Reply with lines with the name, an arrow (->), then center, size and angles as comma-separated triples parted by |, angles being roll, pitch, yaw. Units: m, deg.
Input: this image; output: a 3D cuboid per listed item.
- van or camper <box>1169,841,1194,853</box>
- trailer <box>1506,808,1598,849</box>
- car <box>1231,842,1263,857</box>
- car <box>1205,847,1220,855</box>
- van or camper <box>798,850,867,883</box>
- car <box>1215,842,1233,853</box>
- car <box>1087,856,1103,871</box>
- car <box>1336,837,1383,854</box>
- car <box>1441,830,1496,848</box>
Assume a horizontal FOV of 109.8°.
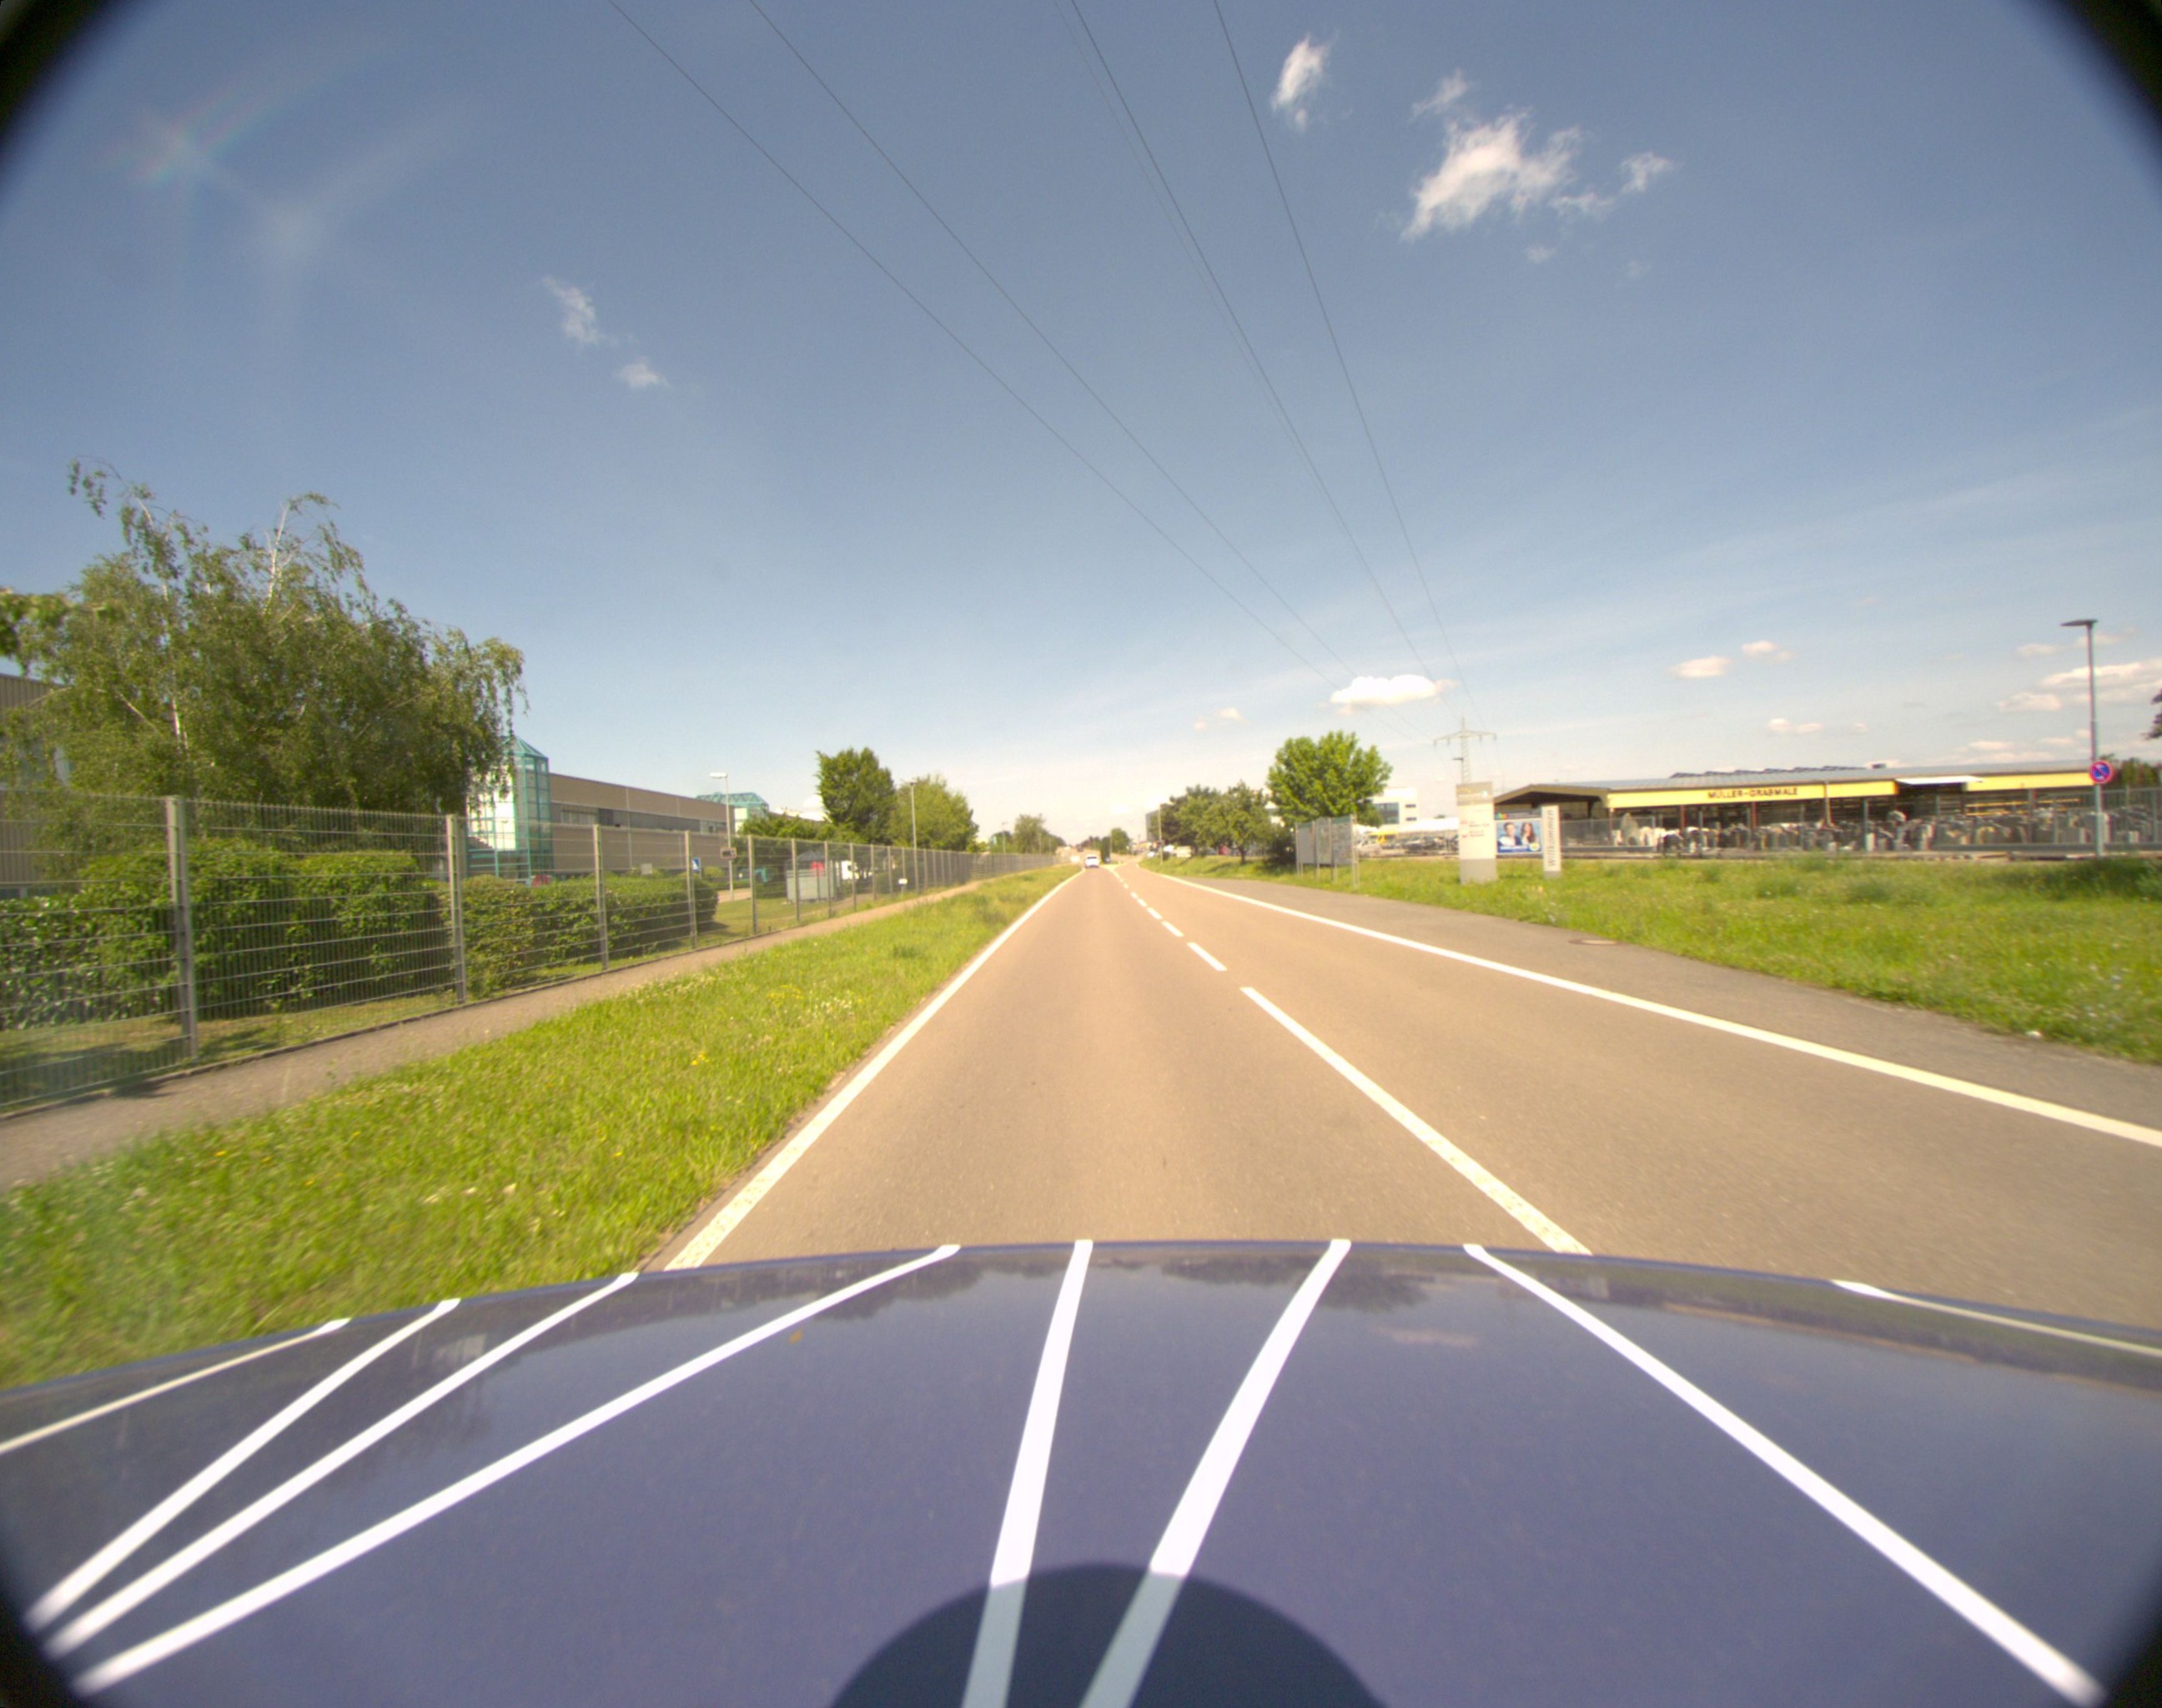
van or camper -> 24.618, -1.697, 185.628 | 5.575, 2.483, 2.081 | -3, 1, 24
trailer -> 37.243, -1.998, 60.155 | 5.578, 2.809, 2.739 | -3, 1, -6
car -> 22.494, -0.617, 102.867 | 4.115, 1.695, 1.719 | -4, 1, -32
car -> 25.138, -0.648, 145.178 | 1.999, 1.400, 4.516 | -4, 0, 0
van or camper -> -23.867, 1.191, 73.212 | 5.788, 2.504, 1.999 | -6, 1, -5
car -> 24.766, -1.159, 131.531 | 1.999, 1.734, 4.227 | -3, 0, -5
car -> 1.978, 1.272, 105.321 | 1.998, 1.904, 4.000 | -3, 1, 4
car -> 25.801, -0.820, 70.290 | 4.006, 1.302, 1.938 | -4, 0, -32
car -> 36.857, -1.407, 72.388 | 2.003, 1.477, 4.239 | -4, 0, -30
